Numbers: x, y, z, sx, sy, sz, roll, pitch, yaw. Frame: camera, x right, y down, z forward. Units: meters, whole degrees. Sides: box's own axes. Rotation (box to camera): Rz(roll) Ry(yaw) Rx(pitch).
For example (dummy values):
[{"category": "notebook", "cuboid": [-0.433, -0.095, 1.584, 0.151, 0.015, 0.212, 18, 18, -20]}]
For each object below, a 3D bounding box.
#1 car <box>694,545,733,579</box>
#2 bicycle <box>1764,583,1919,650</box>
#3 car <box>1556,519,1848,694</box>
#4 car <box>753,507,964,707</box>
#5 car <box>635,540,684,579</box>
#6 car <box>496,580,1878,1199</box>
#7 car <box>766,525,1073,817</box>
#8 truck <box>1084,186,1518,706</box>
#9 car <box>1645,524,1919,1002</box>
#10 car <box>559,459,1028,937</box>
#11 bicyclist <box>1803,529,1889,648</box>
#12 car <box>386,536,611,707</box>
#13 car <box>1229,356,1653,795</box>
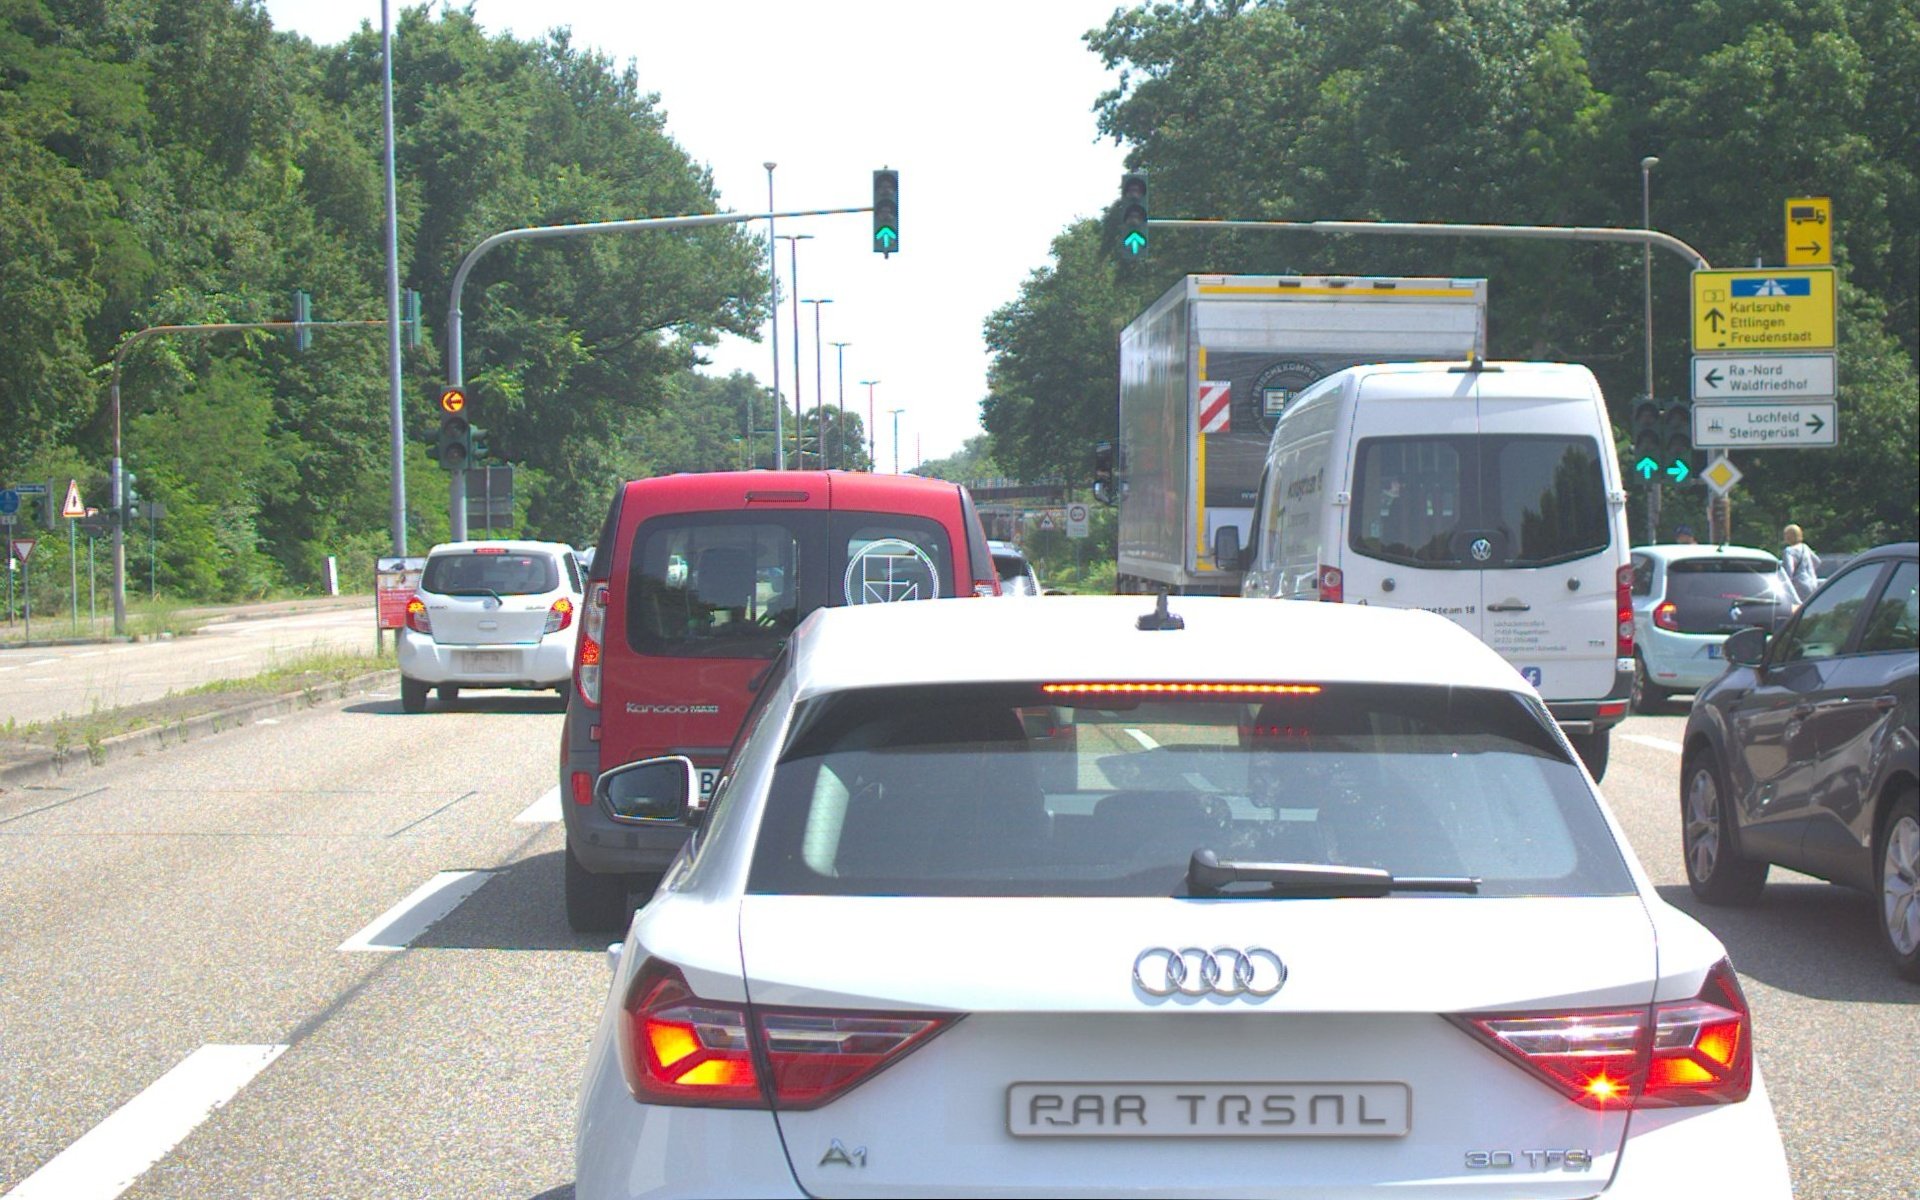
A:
[{"category": "car", "cuboid": [-13.021, -2.038, 181.894, 1.830, 1.722, 4.000, -1, 1, -1]}, {"category": "bicycle", "cuboid": [10.915, 0.199, 42.472, 1.821, 0.763, 0.601, -1, 1, -11]}, {"category": "car", "cuboid": [6.899, 0.020, 32.371, 1.711, 1.541, 4.092, 0, 1, -2]}, {"category": "car", "cuboid": [-0.911, 0.018, 30.008, 1.711, 1.626, 4.092, 0, 1, -2]}, {"category": "car", "cuboid": [-13.924, -1.901, 159.511, 1.993, 1.766, 4.205, -1, 1, -2]}, {"category": "car", "cuboid": [0.201, 0.679, 6.296, 1.711, 1.381, 4.092, 0, 1, -2]}, {"category": "car", "cuboid": [-0.312, 0.357, 21.222, 1.711, 1.626, 4.092, 0, 1, -2]}, {"category": "truck", "cuboid": [3.129, -1.422, 35.202, 3.088, 4.418, 11.581, 0, 1, -1]}, {"category": "car", "cuboid": [3.971, 0.510, 13.179, 1.711, 1.587, 4.092, 0, 1, -2]}, {"category": "car", "cuboid": [-0.692, 0.320, 14.602, 1.711, 1.742, 4.092, 0, 1, -2]}, {"category": "bicyclist", "cuboid": [10.948, -0.147, 42.476, 0.826, 1.434, 0.599, -1, 1, -12]}, {"category": "car", "cuboid": [-4.240, 0.149, 32.077, 1.711, 1.487, 4.092, 0, 1, -2]}, {"category": "car", "cuboid": [3.081, -0.190, 23.074, 2.031, 2.635, 4.846, 0, 1, -2]}]
